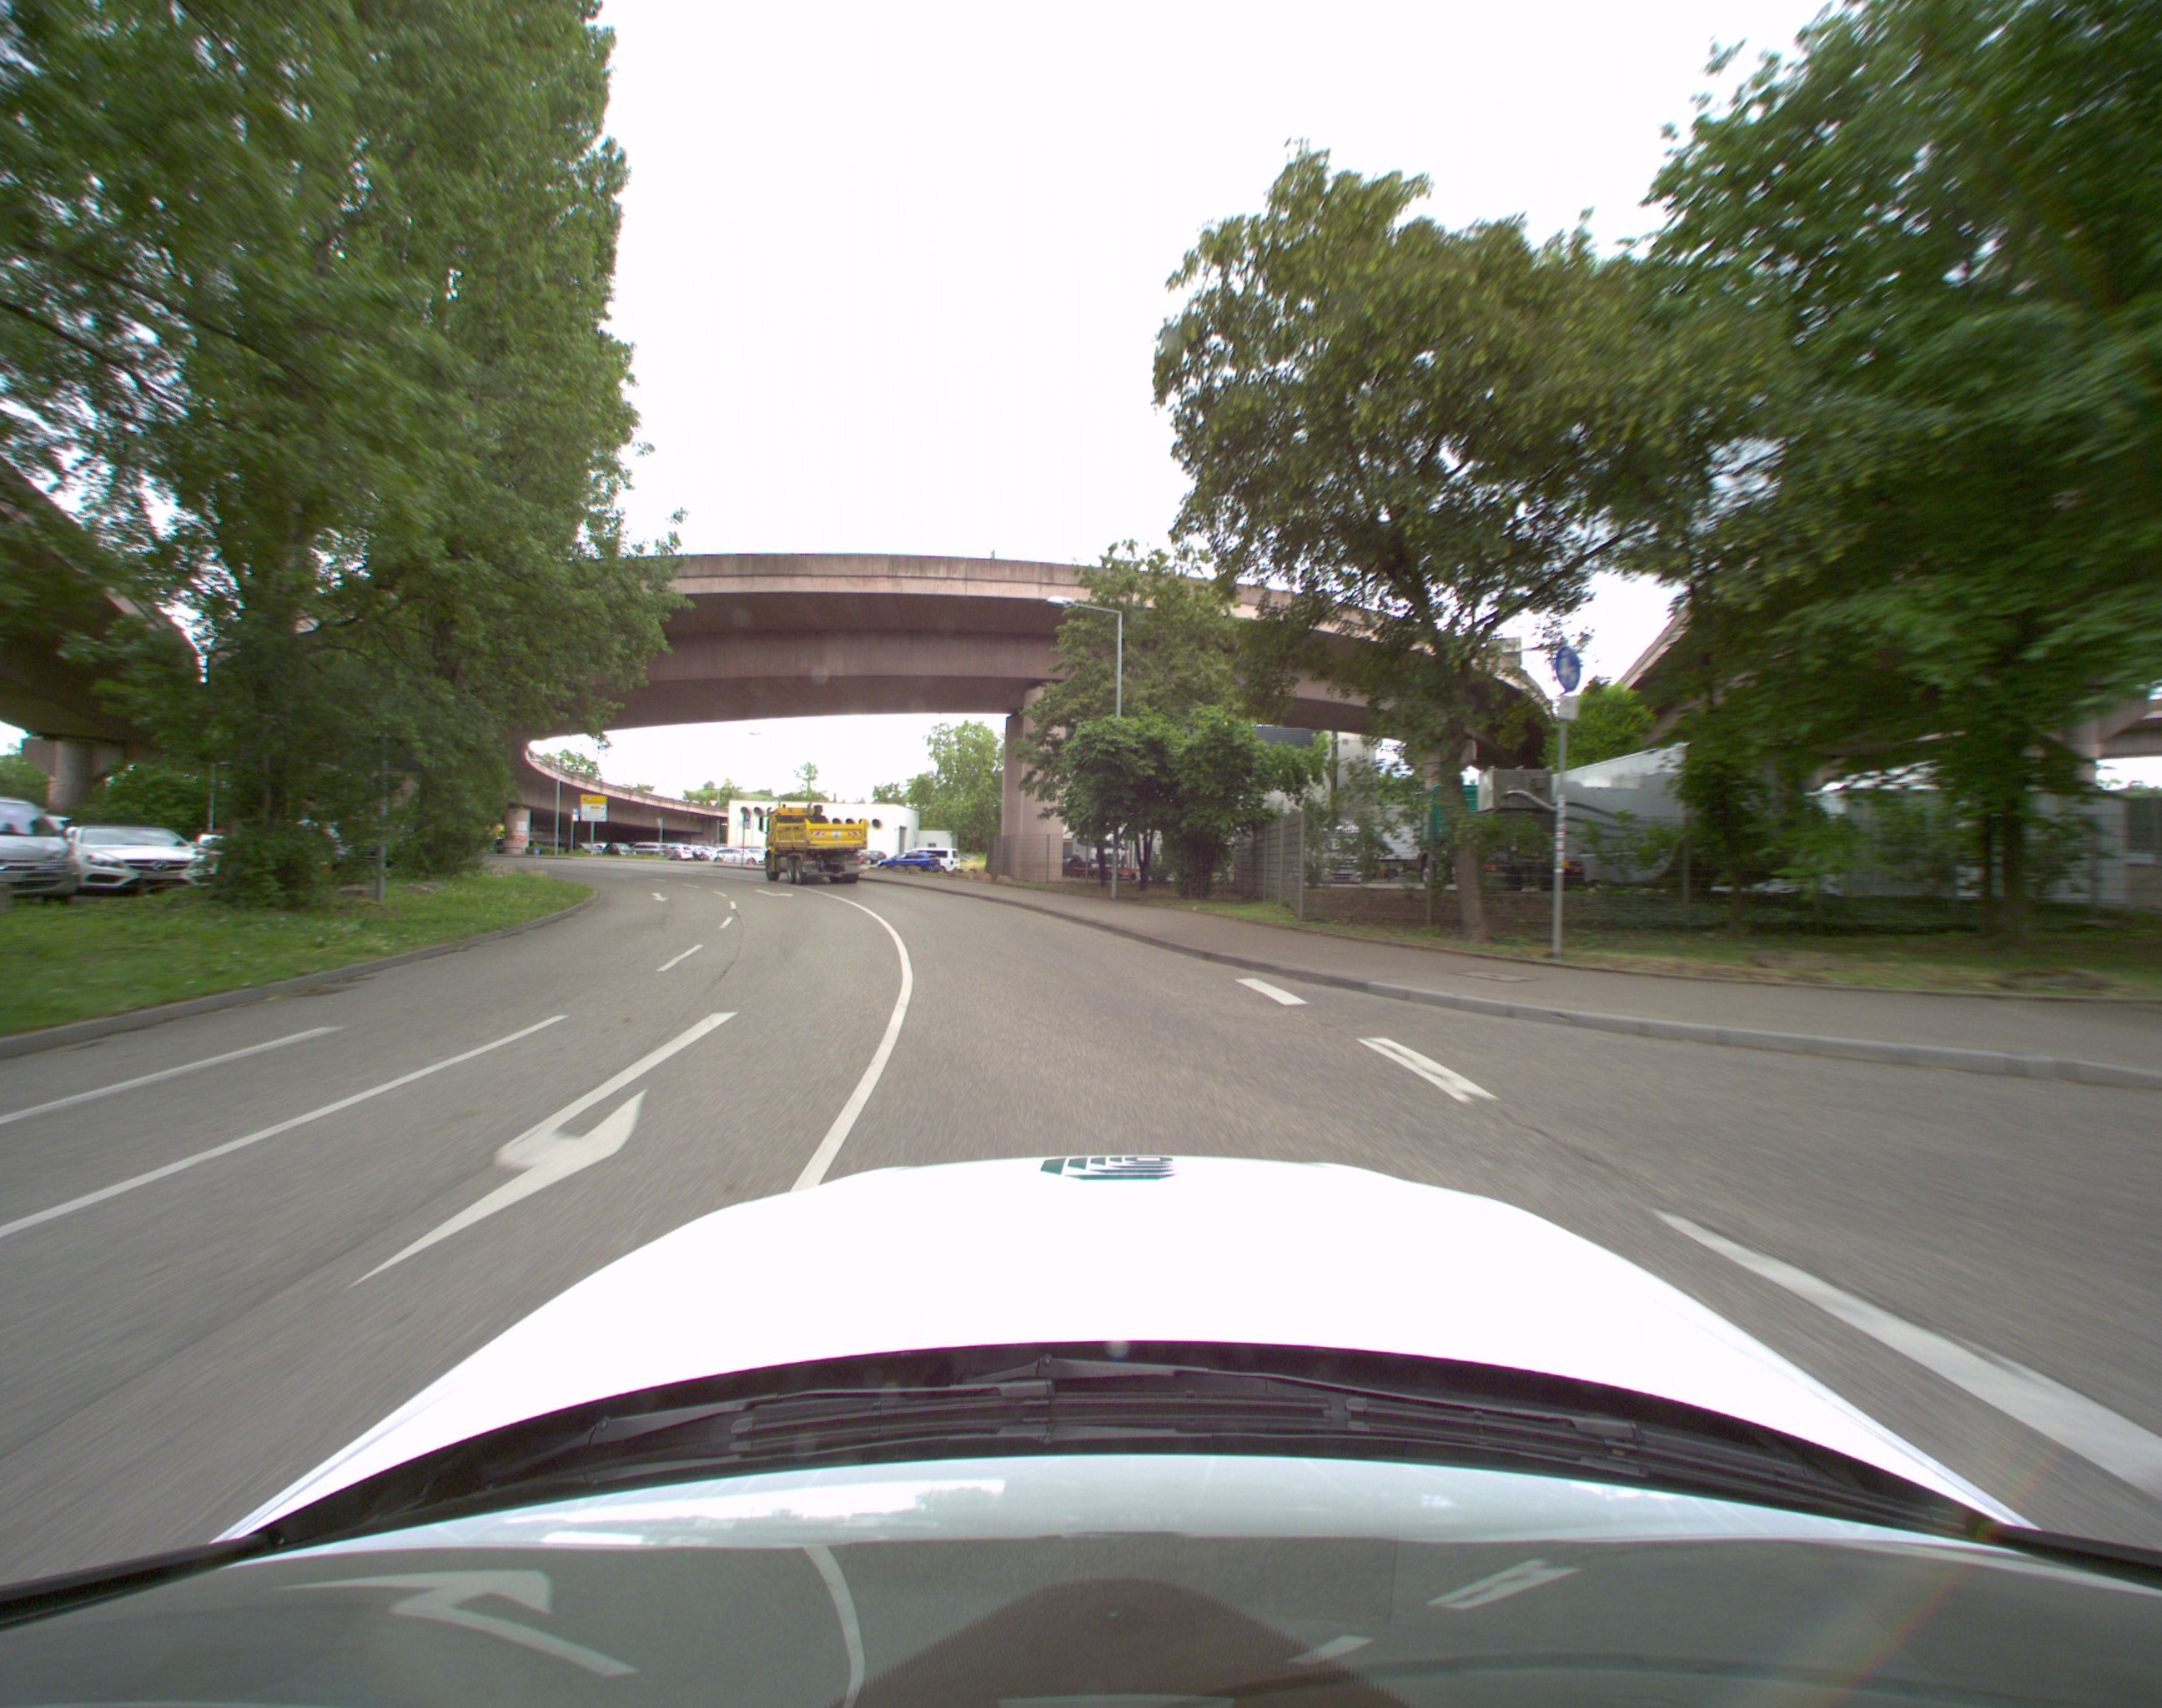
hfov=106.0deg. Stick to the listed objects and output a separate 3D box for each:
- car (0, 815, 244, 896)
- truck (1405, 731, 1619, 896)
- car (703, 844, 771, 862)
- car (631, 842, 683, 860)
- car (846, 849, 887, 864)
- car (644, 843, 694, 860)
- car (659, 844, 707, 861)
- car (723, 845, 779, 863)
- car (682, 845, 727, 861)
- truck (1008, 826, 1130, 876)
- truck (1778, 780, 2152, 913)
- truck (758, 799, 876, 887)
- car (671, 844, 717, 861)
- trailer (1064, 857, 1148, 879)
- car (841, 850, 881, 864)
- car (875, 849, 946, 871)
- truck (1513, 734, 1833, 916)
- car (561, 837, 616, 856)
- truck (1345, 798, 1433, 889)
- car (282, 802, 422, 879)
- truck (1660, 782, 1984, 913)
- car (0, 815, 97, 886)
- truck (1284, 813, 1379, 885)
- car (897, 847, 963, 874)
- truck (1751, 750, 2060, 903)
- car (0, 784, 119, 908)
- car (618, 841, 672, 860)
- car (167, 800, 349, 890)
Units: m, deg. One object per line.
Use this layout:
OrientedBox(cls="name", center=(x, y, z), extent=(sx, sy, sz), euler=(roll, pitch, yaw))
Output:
OrientedBox(cls="car", center=(-19.589, 0.057, 16.628), extent=(4.732, 1.443, 2.134), euler=(-1, -1, 27))
OrientedBox(cls="truck", center=(11.776, -1.020, 23.140), extent=(3.050, 3.963, 6.935), euler=(0, 1, 6))
OrientedBox(cls="car", center=(-28.721, -0.044, 68.125), extent=(4.801, 1.442, 2.001), euler=(0, -1, 2))
OrientedBox(cls="car", center=(-39.371, -0.262, 75.659), extent=(3.854, 1.633, 1.777), euler=(0, -1, 2))
OrientedBox(cls="car", center=(-23.455, 0.299, 89.179), extent=(3.970, 1.546, 1.858), euler=(0, 2, 3))
OrientedBox(cls="car", center=(-39.572, -0.219, 78.189), extent=(3.854, 1.633, 1.777), euler=(0, -1, 2))
OrientedBox(cls="car", center=(-39.246, -0.176, 80.341), extent=(3.854, 1.633, 1.777), euler=(0, -1, 2))
OrientedBox(cls="car", center=(-28.570, 0.007, 70.619), extent=(3.971, 1.442, 2.001), euler=(0, -1, 2))
OrientedBox(cls="car", center=(-39.377, -0.077, 85.161), extent=(3.854, 1.633, 1.777), euler=(0, -1, 2))
OrientedBox(cls="truck", center=(-0.783, -0.142, 45.202), extent=(2.739, 2.552, 7.144), euler=(1, -1, -42))
OrientedBox(cls="truck", center=(22.160, -0.207, 21.127), extent=(2.902, 2.899, 6.566), euler=(0, 1, 4))
OrientedBox(cls="truck", center=(-12.049, -0.501, 36.614), extent=(2.947, 3.481, 8.160), euler=(-2, 1, -33))
OrientedBox(cls="car", center=(-39.271, -0.136, 82.717), extent=(3.854, 1.633, 1.777), euler=(0, -1, 2))
OrientedBox(cls="trailer", center=(0.999, 0.580, 37.182), extent=(2.153, 0.743, 6.262), euler=(-3, 1, -15))
OrientedBox(cls="car", center=(-22.980, 0.285, 85.200), extent=(3.685, 1.442, 1.636), euler=(0, -1, 2))
OrientedBox(cls="car", center=(-11.838, 0.428, 56.692), extent=(4.407, 1.442, 2.010), euler=(-1, -1, 19))
OrientedBox(cls="truck", center=(14.795, -0.677, 21.463), extent=(3.052, 3.867, 8.057), euler=(0, 1, 4))
OrientedBox(cls="car", center=(-44.523, -0.654, 73.632), extent=(3.854, 1.633, 1.777), euler=(0, -1, 2))
OrientedBox(cls="truck", center=(17.602, -0.624, 47.125), extent=(3.184, 4.780, 8.069), euler=(0, 1, 9))
OrientedBox(cls="car", center=(-20.814, -0.360, 23.220), extent=(3.948, 2.013, 2.013), euler=(1, 0, 34))
OrientedBox(cls="truck", center=(18.799, -0.189, 21.398), extent=(2.902, 2.899, 6.566), euler=(0, 1, 4))
OrientedBox(cls="car", center=(-29.896, 0.019, 21.547), extent=(1.974, 1.784, 4.479), euler=(-4, 3, 28))
OrientedBox(cls="truck", center=(13.580, -0.342, 44.858), extent=(3.043, 3.619, 7.920), euler=(0, 1, 2))
OrientedBox(cls="car", center=(-11.015, 0.491, 59.595), extent=(4.285, 1.857, 2.007), euler=(0, -1, 12))
OrientedBox(cls="truck", center=(26.675, -0.827, 27.137), extent=(3.048, 4.299, 8.068), euler=(0, 1, 8))
OrientedBox(cls="car", center=(-17.510, -0.091, 12.822), extent=(4.346, 1.791, 2.027), euler=(-1, -1, 26))
OrientedBox(cls="car", center=(-39.105, -0.326, 73.060), extent=(3.855, 1.633, 1.777), euler=(0, -1, 1))
OrientedBox(cls="car", center=(-20.403, -0.236, 20.160), extent=(4.393, 2.013, 2.012), euler=(1, 0, 29))
